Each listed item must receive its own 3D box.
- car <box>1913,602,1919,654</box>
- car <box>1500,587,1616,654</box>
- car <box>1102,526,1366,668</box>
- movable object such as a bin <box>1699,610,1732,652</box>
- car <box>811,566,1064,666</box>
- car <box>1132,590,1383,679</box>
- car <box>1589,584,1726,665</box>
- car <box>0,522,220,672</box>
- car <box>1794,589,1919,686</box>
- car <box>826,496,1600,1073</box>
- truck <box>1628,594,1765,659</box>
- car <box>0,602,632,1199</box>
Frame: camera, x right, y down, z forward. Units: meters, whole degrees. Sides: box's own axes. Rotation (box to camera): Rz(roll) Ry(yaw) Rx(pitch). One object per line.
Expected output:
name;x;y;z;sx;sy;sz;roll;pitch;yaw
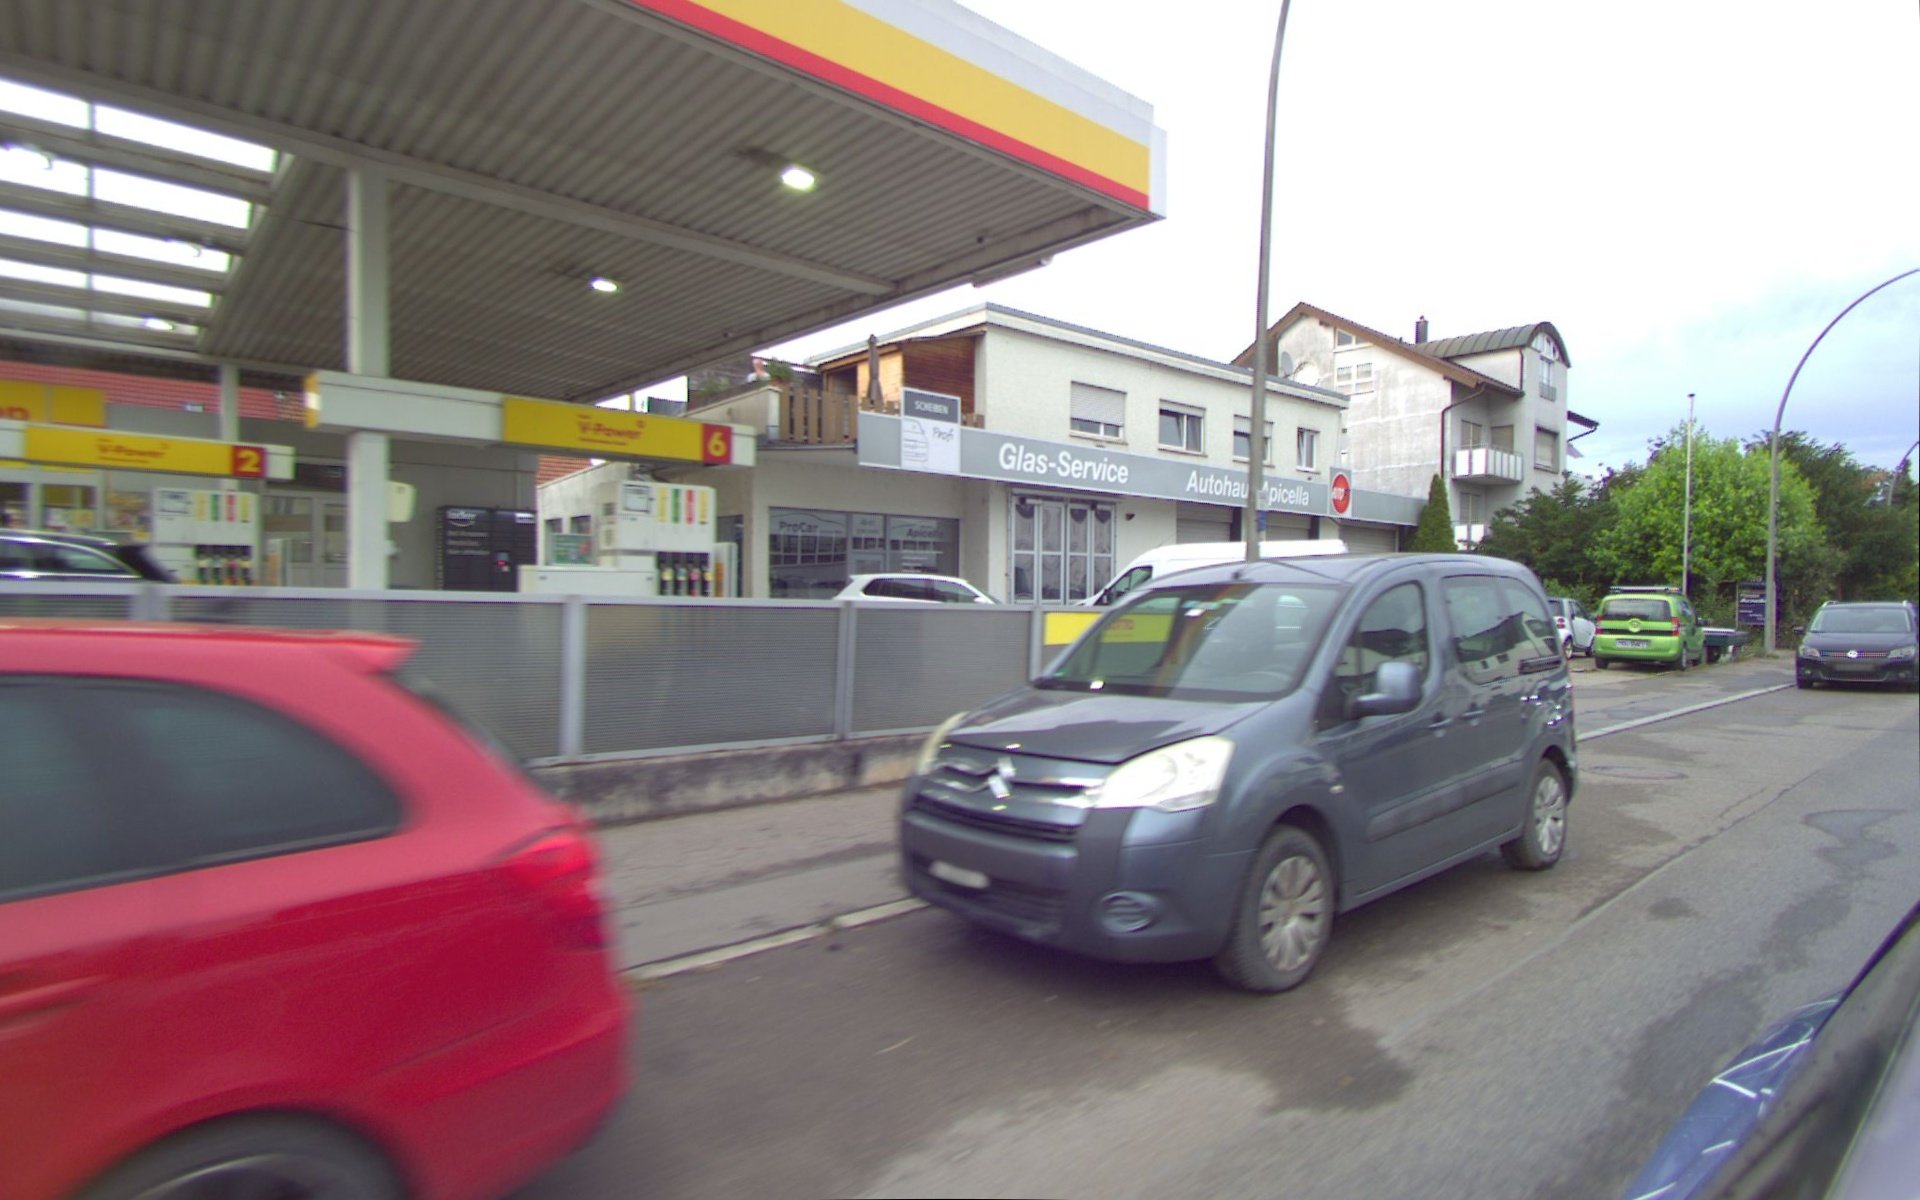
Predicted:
car;29.630;0.811;29.863;3.811;1.521;1.741;1;-2;-40
car;15.879;0.514;26.803;1.748;1.538;3.672;5;4;45
car;5.481;-0.097;20.301;4.759;2.552;2.226;1;0;28
movable object such as a bin;20.103;0.823;26.941;0.670;1.088;0.575;0;0;-42
car;-0.359;0.259;18.126;4.281;1.662;1.999;0;0;3
car;4.968;0.540;17.408;3.935;1.392;1.775;0;1;10
car;16.326;0.510;23.621;1.994;1.704;3.936;1;0;44
car;-10.451;-0.042;10.283;4.592;1.484;1.742;0;1;-42
car;17.359;0.651;19.076;3.932;1.616;1.996;1;1;-42
car;1.605;0.575;5.183;4.368;1.760;1.658;0;-2;-42
truck;18.972;0.632;26.144;1.300;1.549;2.565;0;1;-33
car;-2.712;0.717;1.443;3.955;1.394;1.659;0;1;-42
